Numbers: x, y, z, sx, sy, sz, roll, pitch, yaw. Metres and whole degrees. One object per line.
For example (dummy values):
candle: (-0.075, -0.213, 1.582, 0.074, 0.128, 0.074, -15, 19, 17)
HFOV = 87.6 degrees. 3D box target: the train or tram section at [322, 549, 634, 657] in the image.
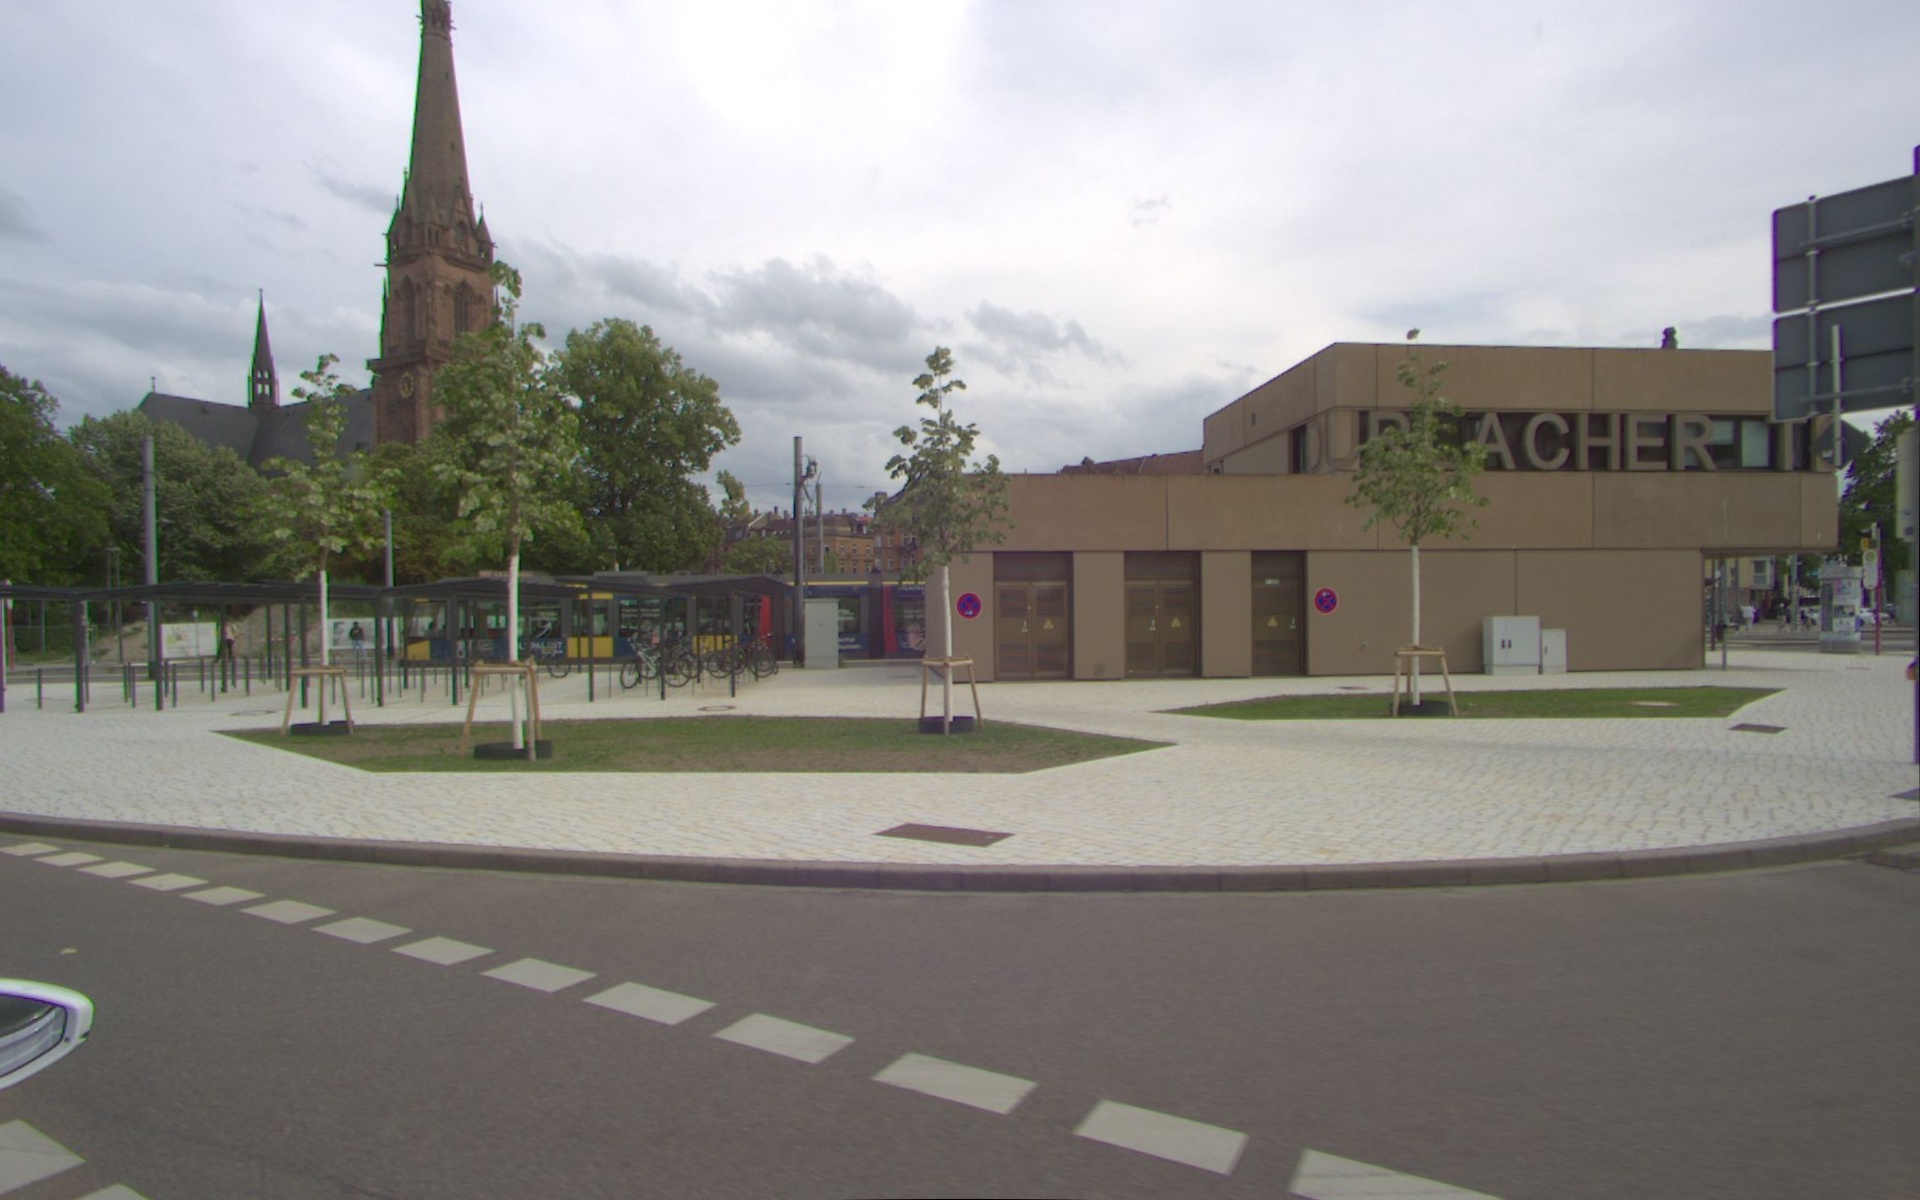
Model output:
train or tram section: (-16.356, 0.123, 34.593, 9.189, 3.321, 3.061, 1, 1, -5)

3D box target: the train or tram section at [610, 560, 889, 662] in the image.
train or tram section: (-7.204, 0.389, 35.428, 9.248, 3.256, 3.061, 1, 1, -5)

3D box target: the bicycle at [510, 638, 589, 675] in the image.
bicycle: (-11.409, 1.564, 27.846, 1.929, 0.968, 0.583, 1, 1, -8)

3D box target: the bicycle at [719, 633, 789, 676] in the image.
bicycle: (-5.885, 1.544, 28.614, 1.931, 1.172, 0.583, 1, 1, -14)

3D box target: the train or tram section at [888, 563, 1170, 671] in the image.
train or tram section: (2.333, 0.606, 36.247, 9.739, 3.496, 3.061, 1, 1, -5)

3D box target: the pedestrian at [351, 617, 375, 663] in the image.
pedestrian: (-24.043, 1.600, 40.322, 0.665, 1.825, 0.522, 1, 1, -12)

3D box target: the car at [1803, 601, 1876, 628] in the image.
car: (64.693, 1.070, 73.706, 3.956, 1.879, 1.982, 2, 1, 44)

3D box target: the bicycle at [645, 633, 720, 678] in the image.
bicycle: (-7.490, 1.506, 27.106, 1.931, 1.172, 0.583, 1, 1, -14)

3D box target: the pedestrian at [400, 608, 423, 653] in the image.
pedestrian: (-22.276, 1.234, 40.668, 0.665, 1.825, 0.522, 1, 1, -12)

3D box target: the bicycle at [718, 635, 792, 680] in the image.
bicycle: (-5.564, 1.555, 27.195, 1.931, 1.172, 0.583, 1, 1, -14)

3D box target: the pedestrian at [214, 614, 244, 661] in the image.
pedestrian: (-29.312, 1.490, 40.171, 0.743, 1.825, 0.817, 2, 1, 41)

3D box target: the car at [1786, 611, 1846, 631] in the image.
car: (77.695, 1.884, 90.916, 1.590, 1.706, 3.959, 1, 1, -44)

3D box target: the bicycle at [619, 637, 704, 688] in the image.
bicycle: (-7.241, 1.518, 24.331, 1.931, 1.172, 0.583, 1, 1, -14)

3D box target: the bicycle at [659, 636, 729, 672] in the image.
bicycle: (-7.820, 1.587, 29.467, 1.929, 0.983, 0.583, 1, 1, -8)
